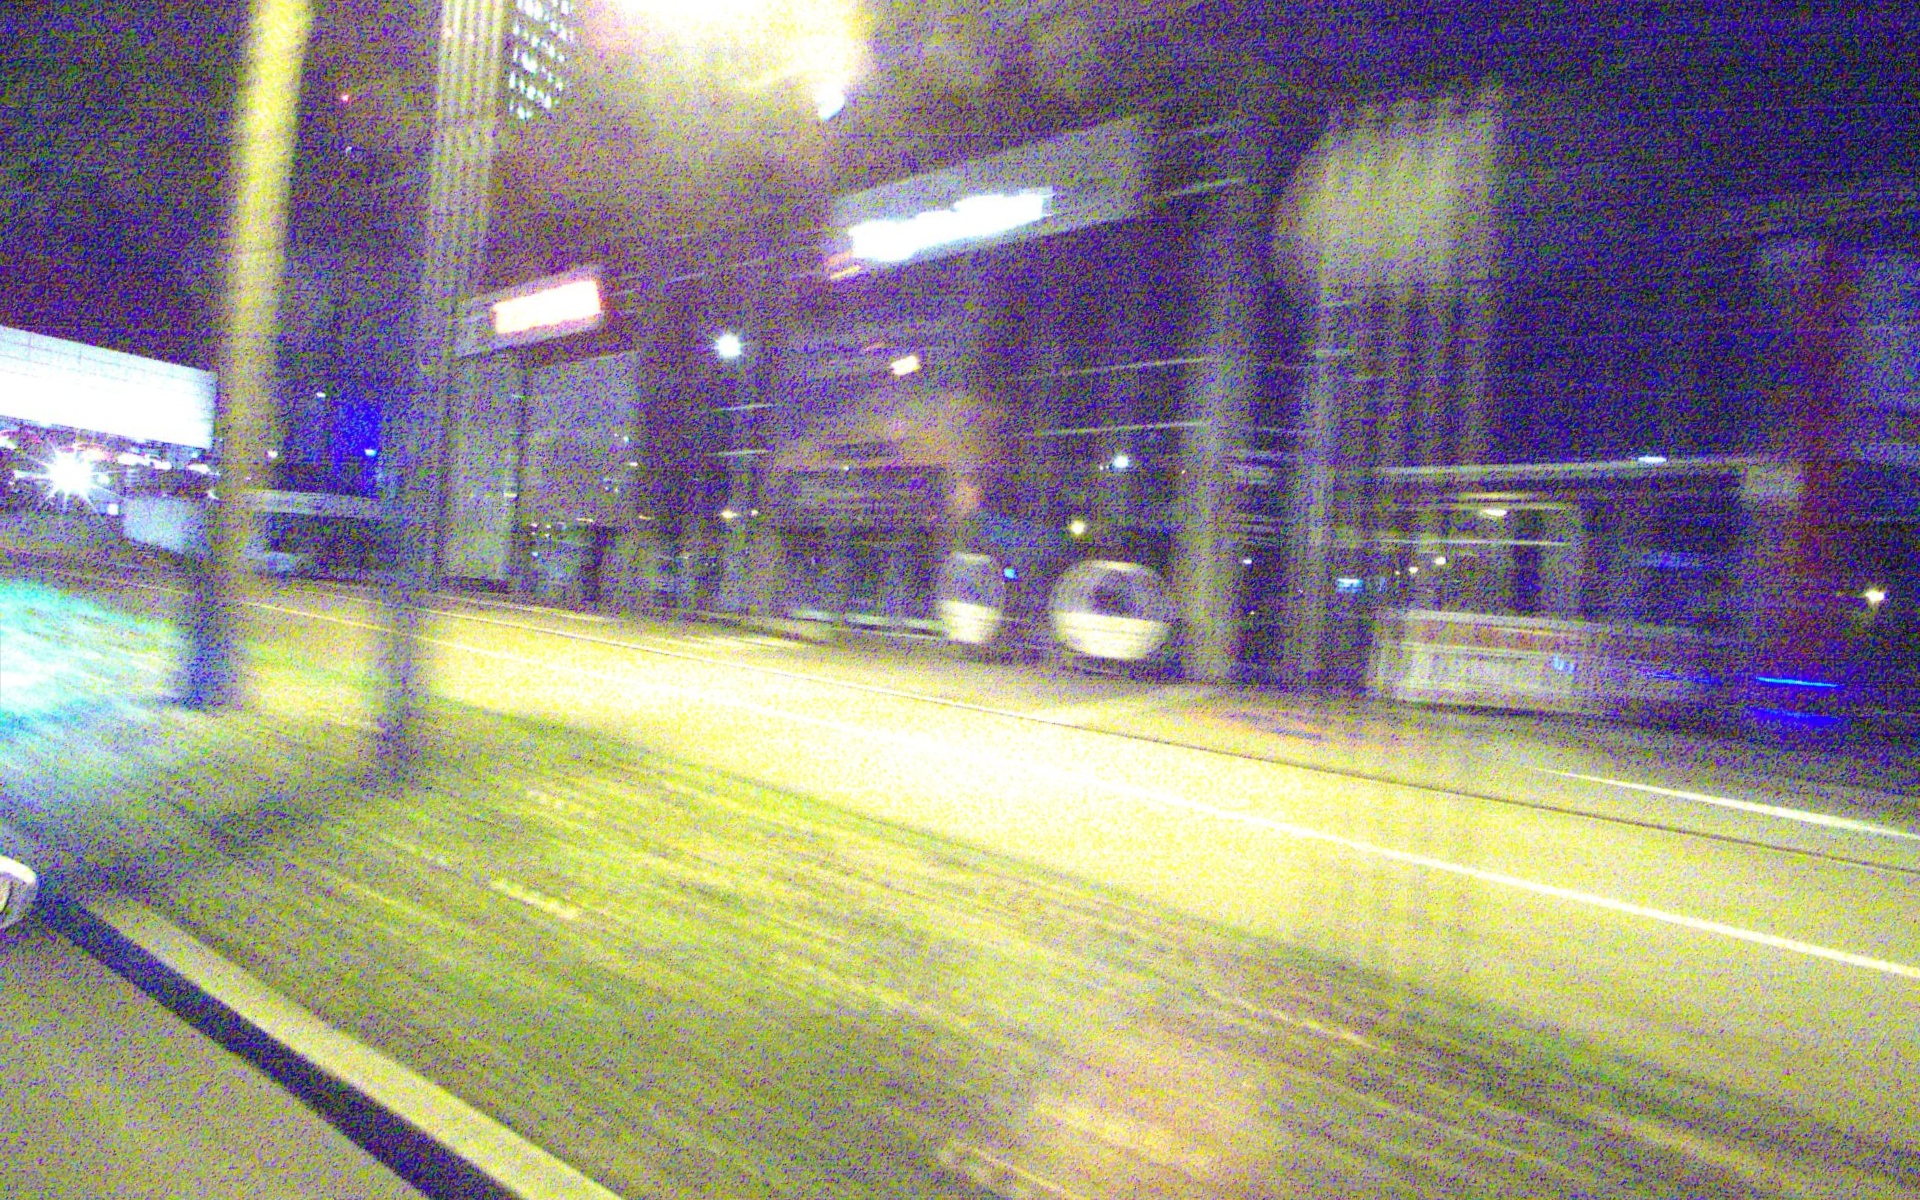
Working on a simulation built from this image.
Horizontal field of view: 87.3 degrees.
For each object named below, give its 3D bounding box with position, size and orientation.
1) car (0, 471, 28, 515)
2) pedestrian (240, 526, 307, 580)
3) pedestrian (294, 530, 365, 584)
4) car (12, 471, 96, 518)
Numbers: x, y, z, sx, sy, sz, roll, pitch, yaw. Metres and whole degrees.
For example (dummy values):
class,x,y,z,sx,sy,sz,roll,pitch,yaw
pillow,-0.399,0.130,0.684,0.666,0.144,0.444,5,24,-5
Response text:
class,x,y,z,sx,sy,sz,roll,pitch,yaw
car,-37.476,-4.177,38.594,3.583,1.529,1.892,4,-3,39
pedestrian,-14.638,-0.990,21.481,0.899,1.051,0.769,5,0,-15
pedestrian,-14.064,-0.949,22.453,0.757,1.019,1.002,5,-2,16
car,-37.246,-4.314,41.334,3.583,1.529,1.892,4,-3,39
